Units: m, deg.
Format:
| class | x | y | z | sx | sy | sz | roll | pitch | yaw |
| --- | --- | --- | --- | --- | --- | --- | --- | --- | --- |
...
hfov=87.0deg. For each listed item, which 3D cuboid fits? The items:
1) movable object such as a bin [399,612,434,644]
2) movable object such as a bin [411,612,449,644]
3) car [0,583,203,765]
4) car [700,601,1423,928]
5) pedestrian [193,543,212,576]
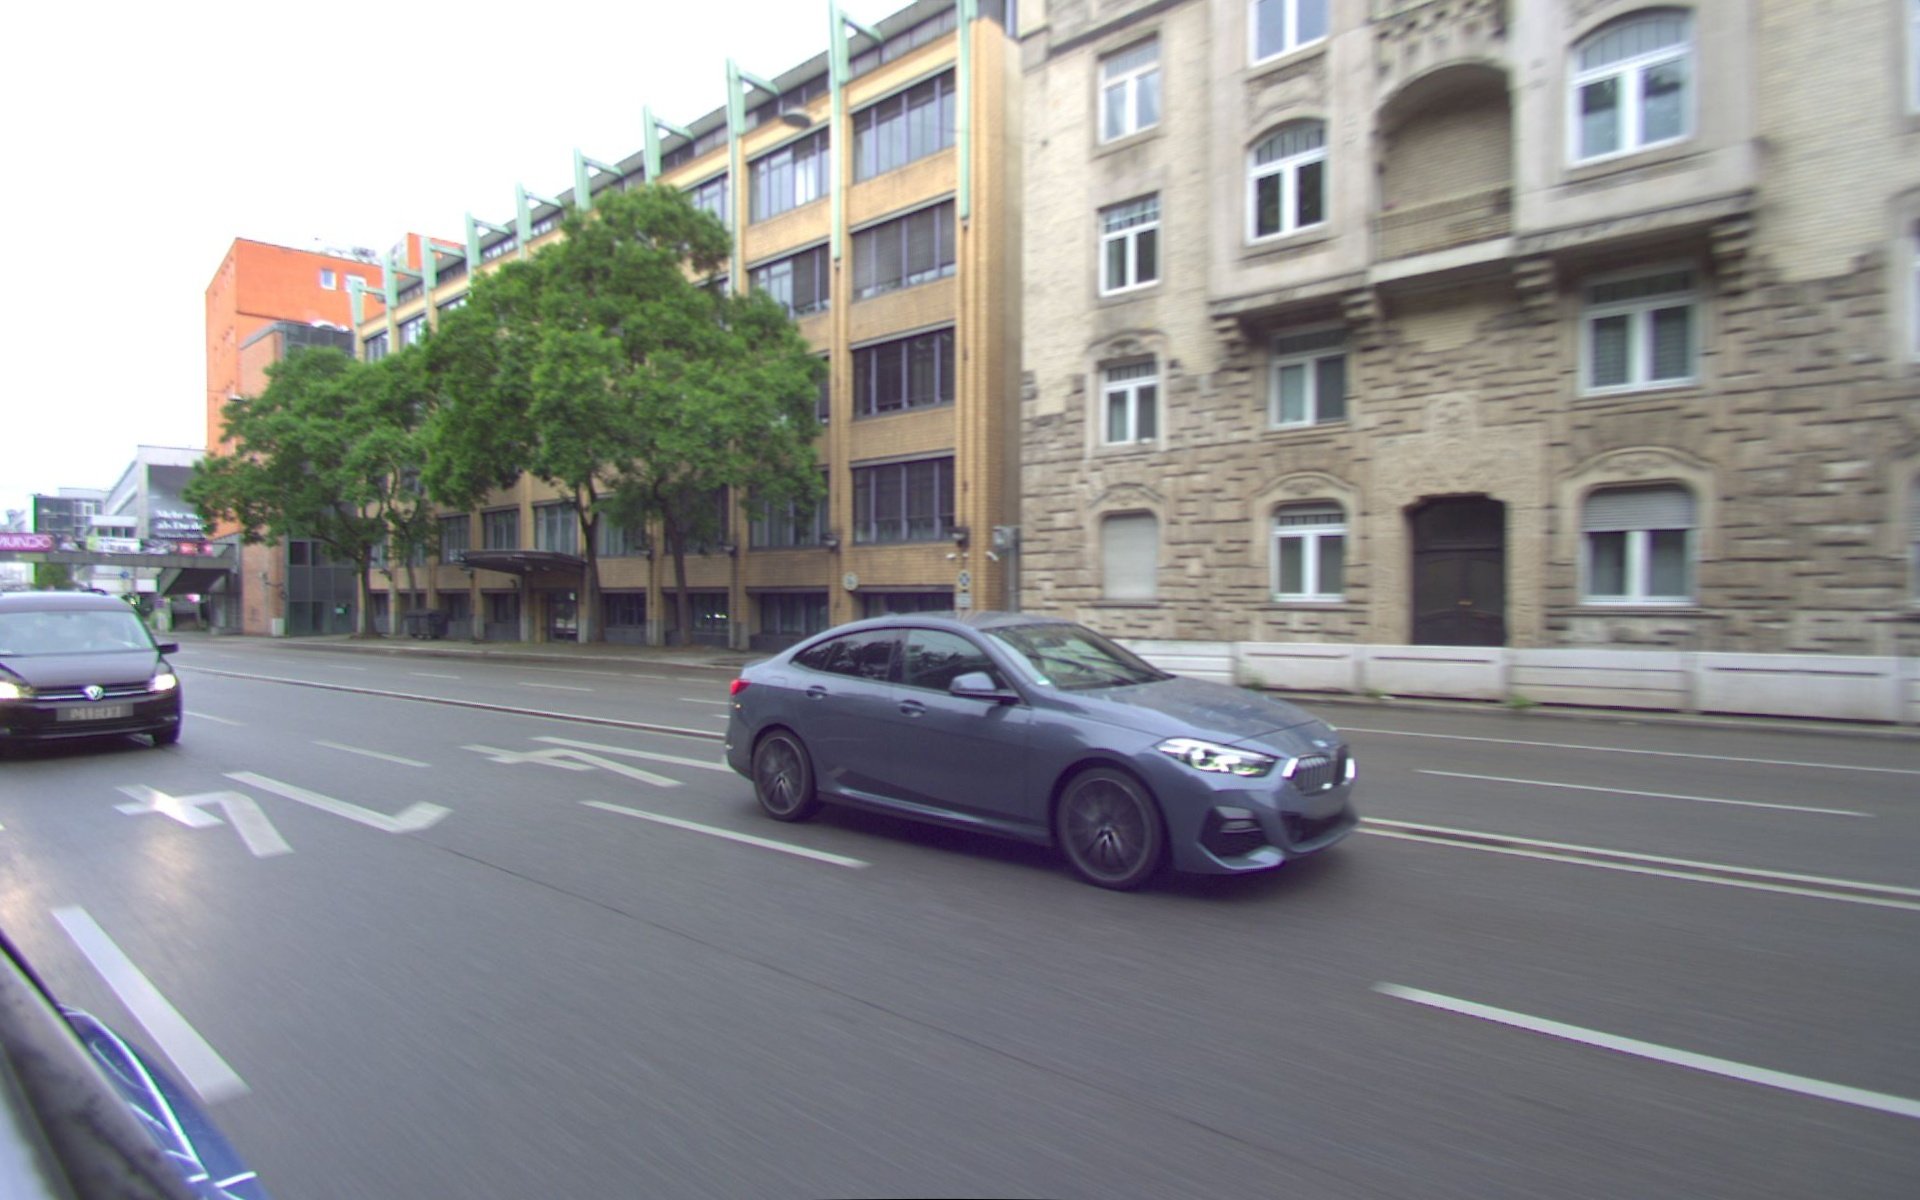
| class | x | y | z | sx | sy | sz | roll | pitch | yaw |
| --- | --- | --- | --- | --- | --- | --- | --- | --- | --- |
| movable object such as a bin | -25.967 | 1.337 | 48.339 | 1.311 | 1.447 | 0.964 | -1 | 1 | 36 |
| movable object such as a bin | -24.888 | 1.305 | 47.525 | 1.369 | 1.447 | 1.058 | -1 | 1 | 36 |
| car | -10.559 | 0.783 | 11.845 | 3.996 | 1.805 | 1.819 | -1 | -2 | 40 |
| car | 0.343 | 0.747 | 6.533 | 4.537 | 1.426 | 1.648 | -1 | -1 | 41 |
| pedestrian | -52.833 | -2.824 | 70.558 | 0.737 | 2.272 | 0.823 | 0 | -1 | 35 |
